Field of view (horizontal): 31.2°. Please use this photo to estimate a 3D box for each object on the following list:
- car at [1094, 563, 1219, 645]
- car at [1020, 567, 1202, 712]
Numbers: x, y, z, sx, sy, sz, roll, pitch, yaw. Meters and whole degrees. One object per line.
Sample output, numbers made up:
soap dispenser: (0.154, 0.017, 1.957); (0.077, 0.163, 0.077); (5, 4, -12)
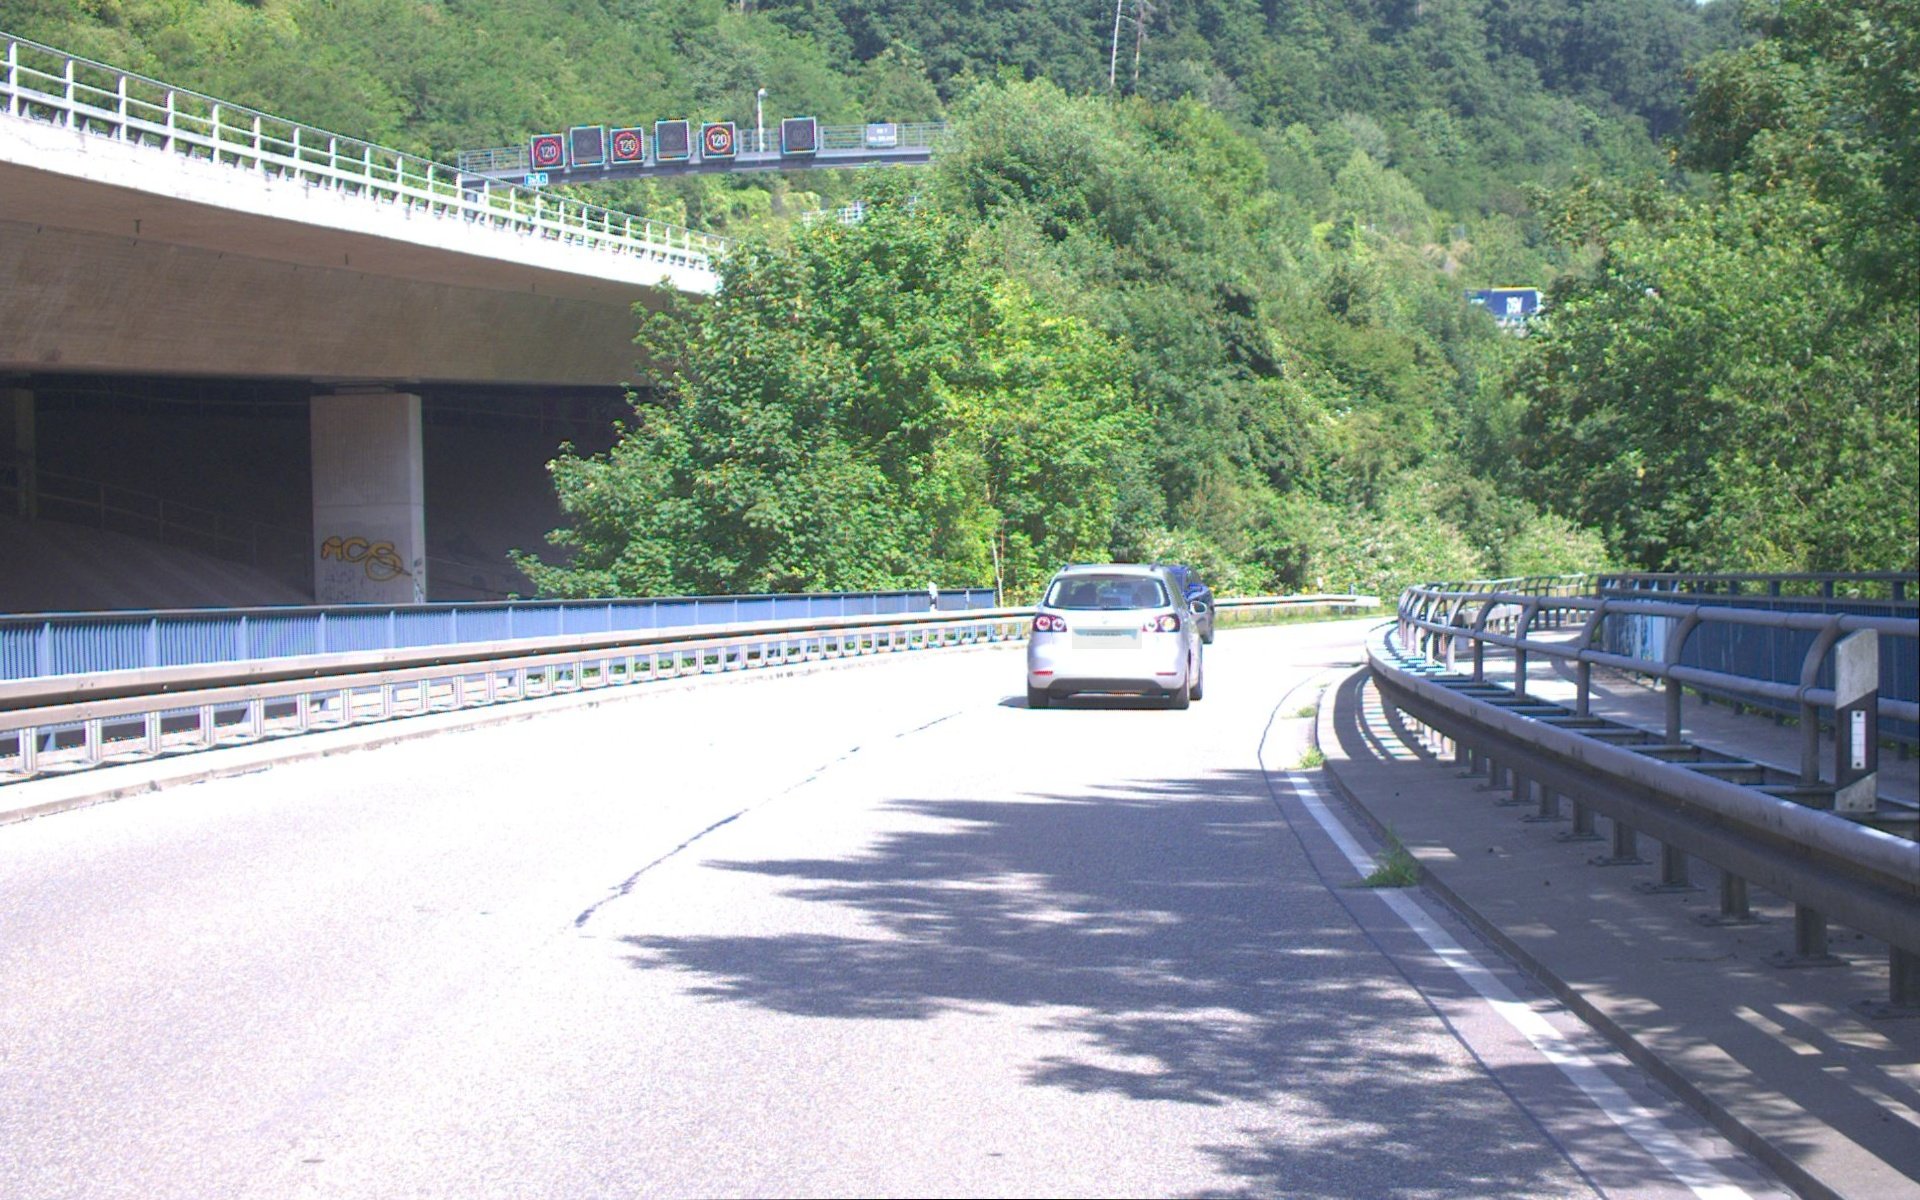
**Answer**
car: (3.993, 0.058, 69.275); (1.899, 1.575, 4.552); (1, 1, 11)
car: (1.723, 0.395, 38.050); (1.751, 1.515, 4.158); (0, 0, 6)
